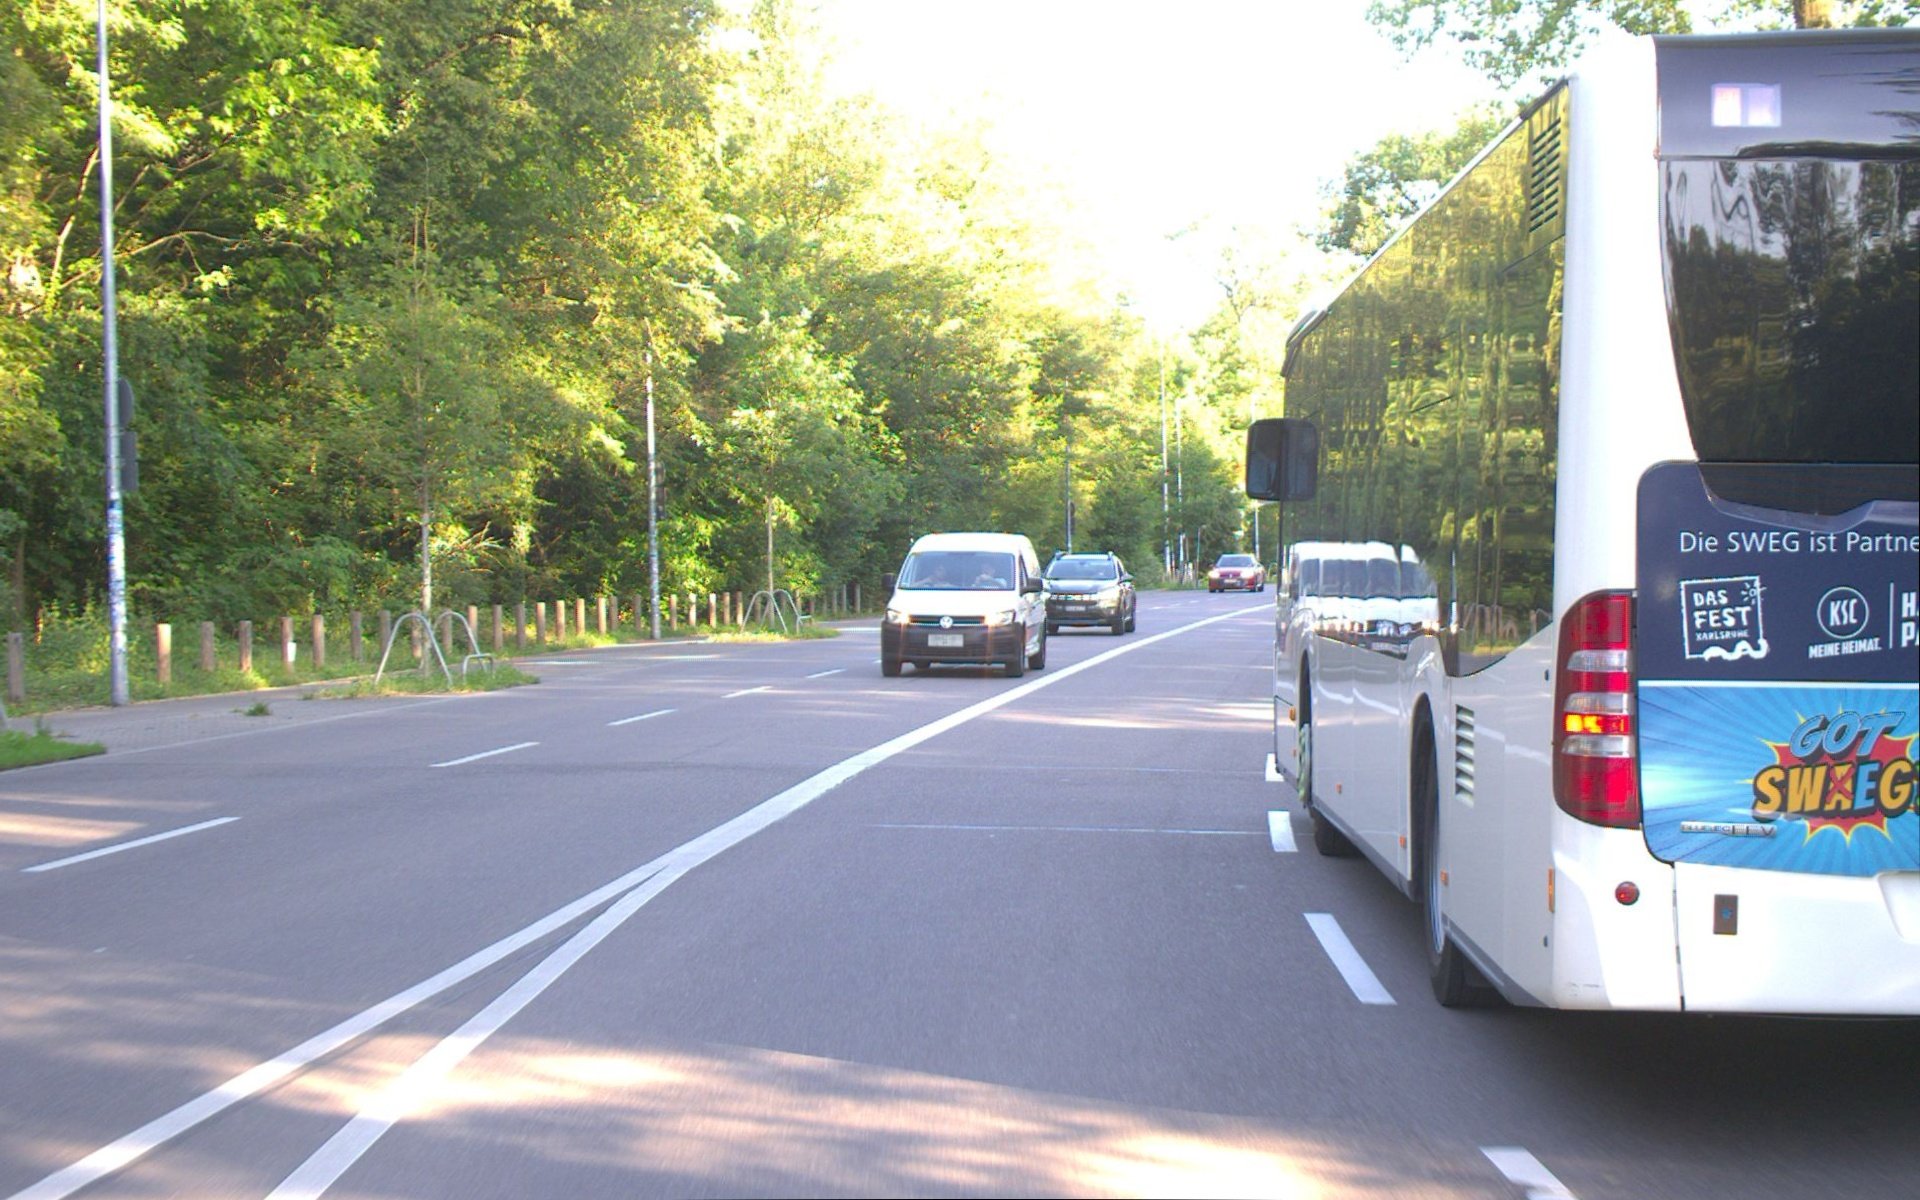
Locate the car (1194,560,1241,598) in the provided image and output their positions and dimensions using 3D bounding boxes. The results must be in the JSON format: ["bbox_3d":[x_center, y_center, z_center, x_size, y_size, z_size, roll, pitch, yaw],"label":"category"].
[{"bbox_3d":[10.096,-0.825,134.663,1.823,1.457,4.924,0,1,4],"label":"car"}]

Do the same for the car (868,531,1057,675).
[{"bbox_3d":[0.093,0.005,44.202,1.906,1.750,4.799,0,1,6],"label":"car"}]

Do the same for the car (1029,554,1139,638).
[{"bbox_3d":[2.428,-0.098,66.336,1.805,1.539,4.089,-1,1,6],"label":"car"}]

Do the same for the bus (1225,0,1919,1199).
[{"bbox_3d":[2.822,-0.205,14.345,2.704,3.211,12.278,1,0,1],"label":"bus"}]
